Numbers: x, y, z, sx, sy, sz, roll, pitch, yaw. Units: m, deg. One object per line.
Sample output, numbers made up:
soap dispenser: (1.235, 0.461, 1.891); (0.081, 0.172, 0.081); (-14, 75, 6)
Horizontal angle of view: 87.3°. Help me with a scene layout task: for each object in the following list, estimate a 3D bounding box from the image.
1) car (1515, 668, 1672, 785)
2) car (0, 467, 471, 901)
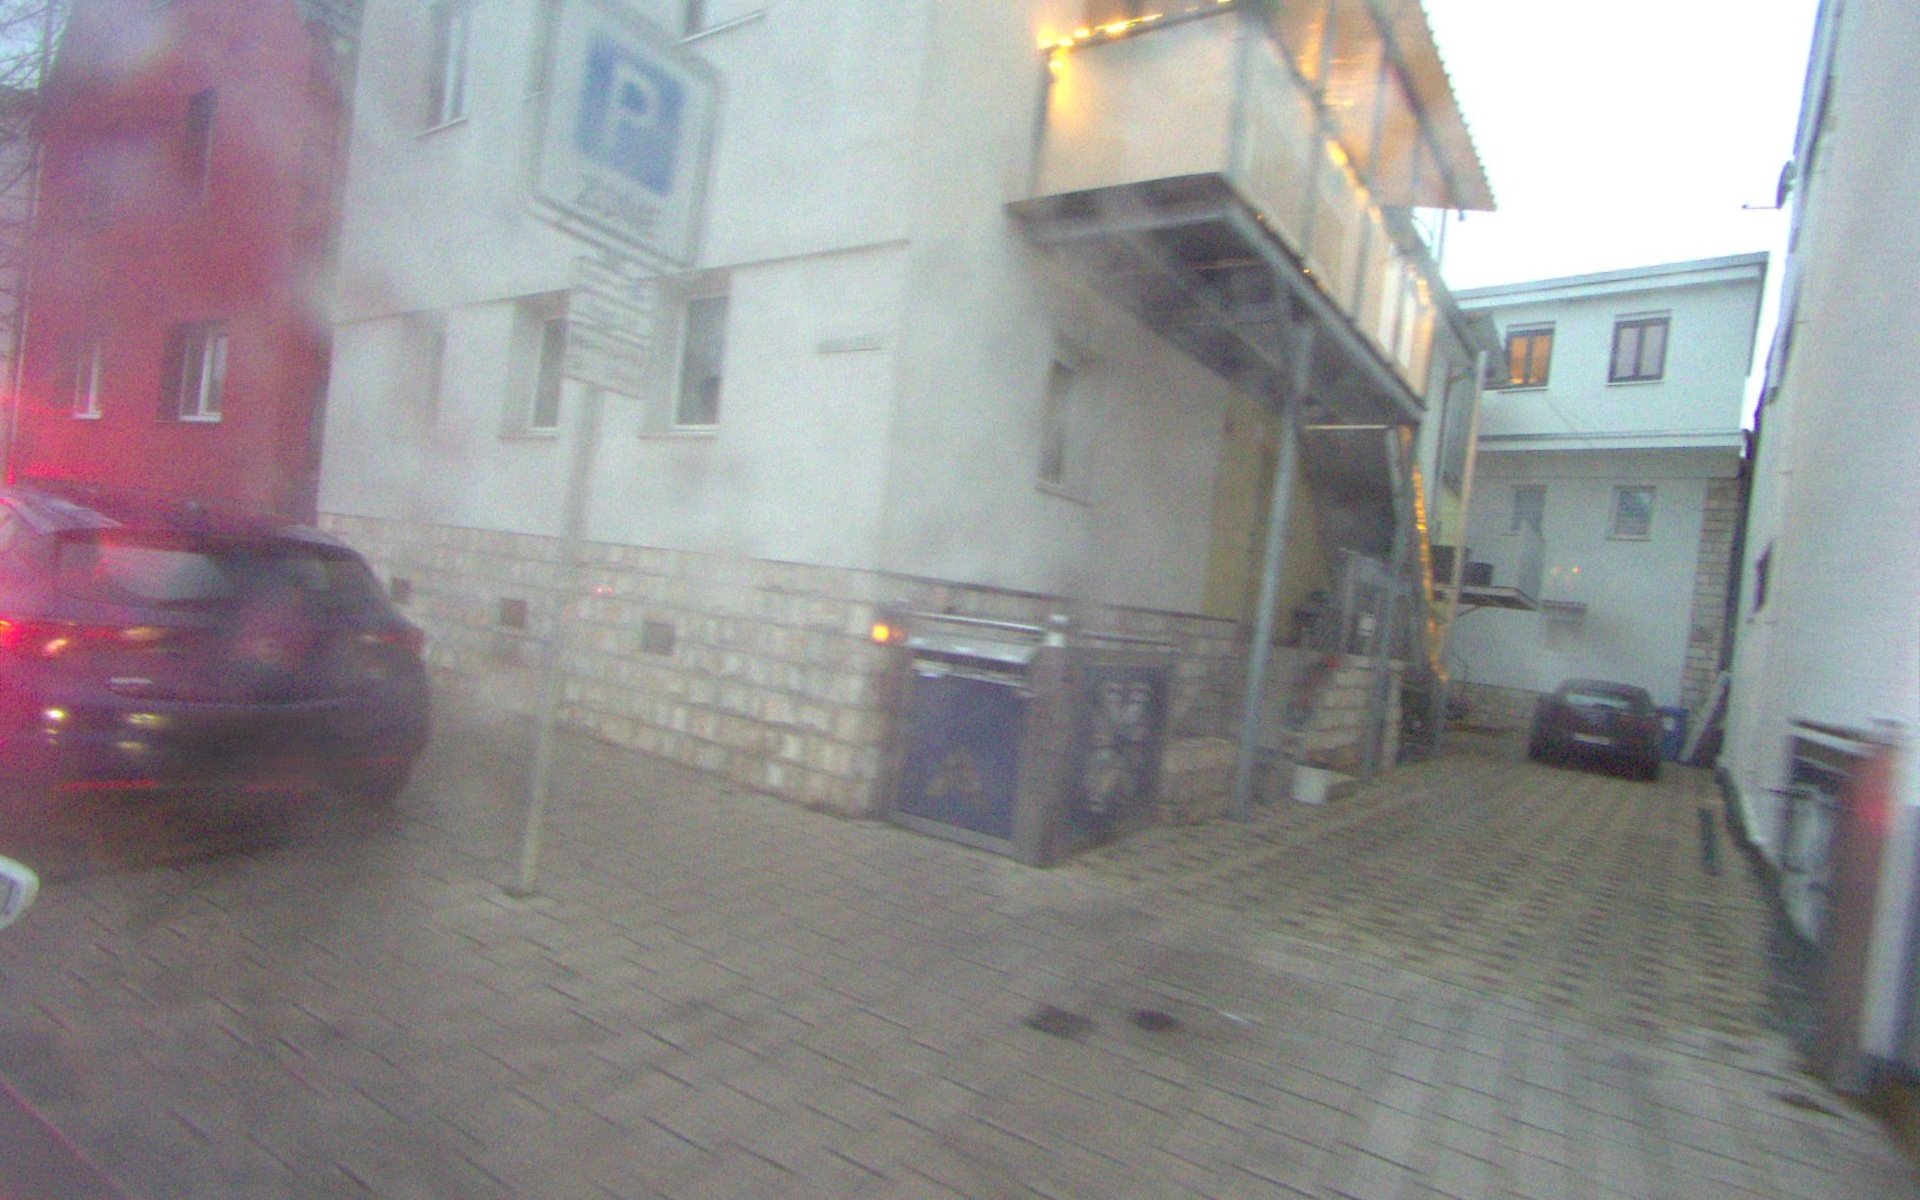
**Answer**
car: (10.982, 2.059, 17.401); (1.906, 1.434, 3.949); (10, 3, 34)
car: (-4.585, 0.114, 5.307); (4.131, 1.484, 1.727); (8, 3, 34)
